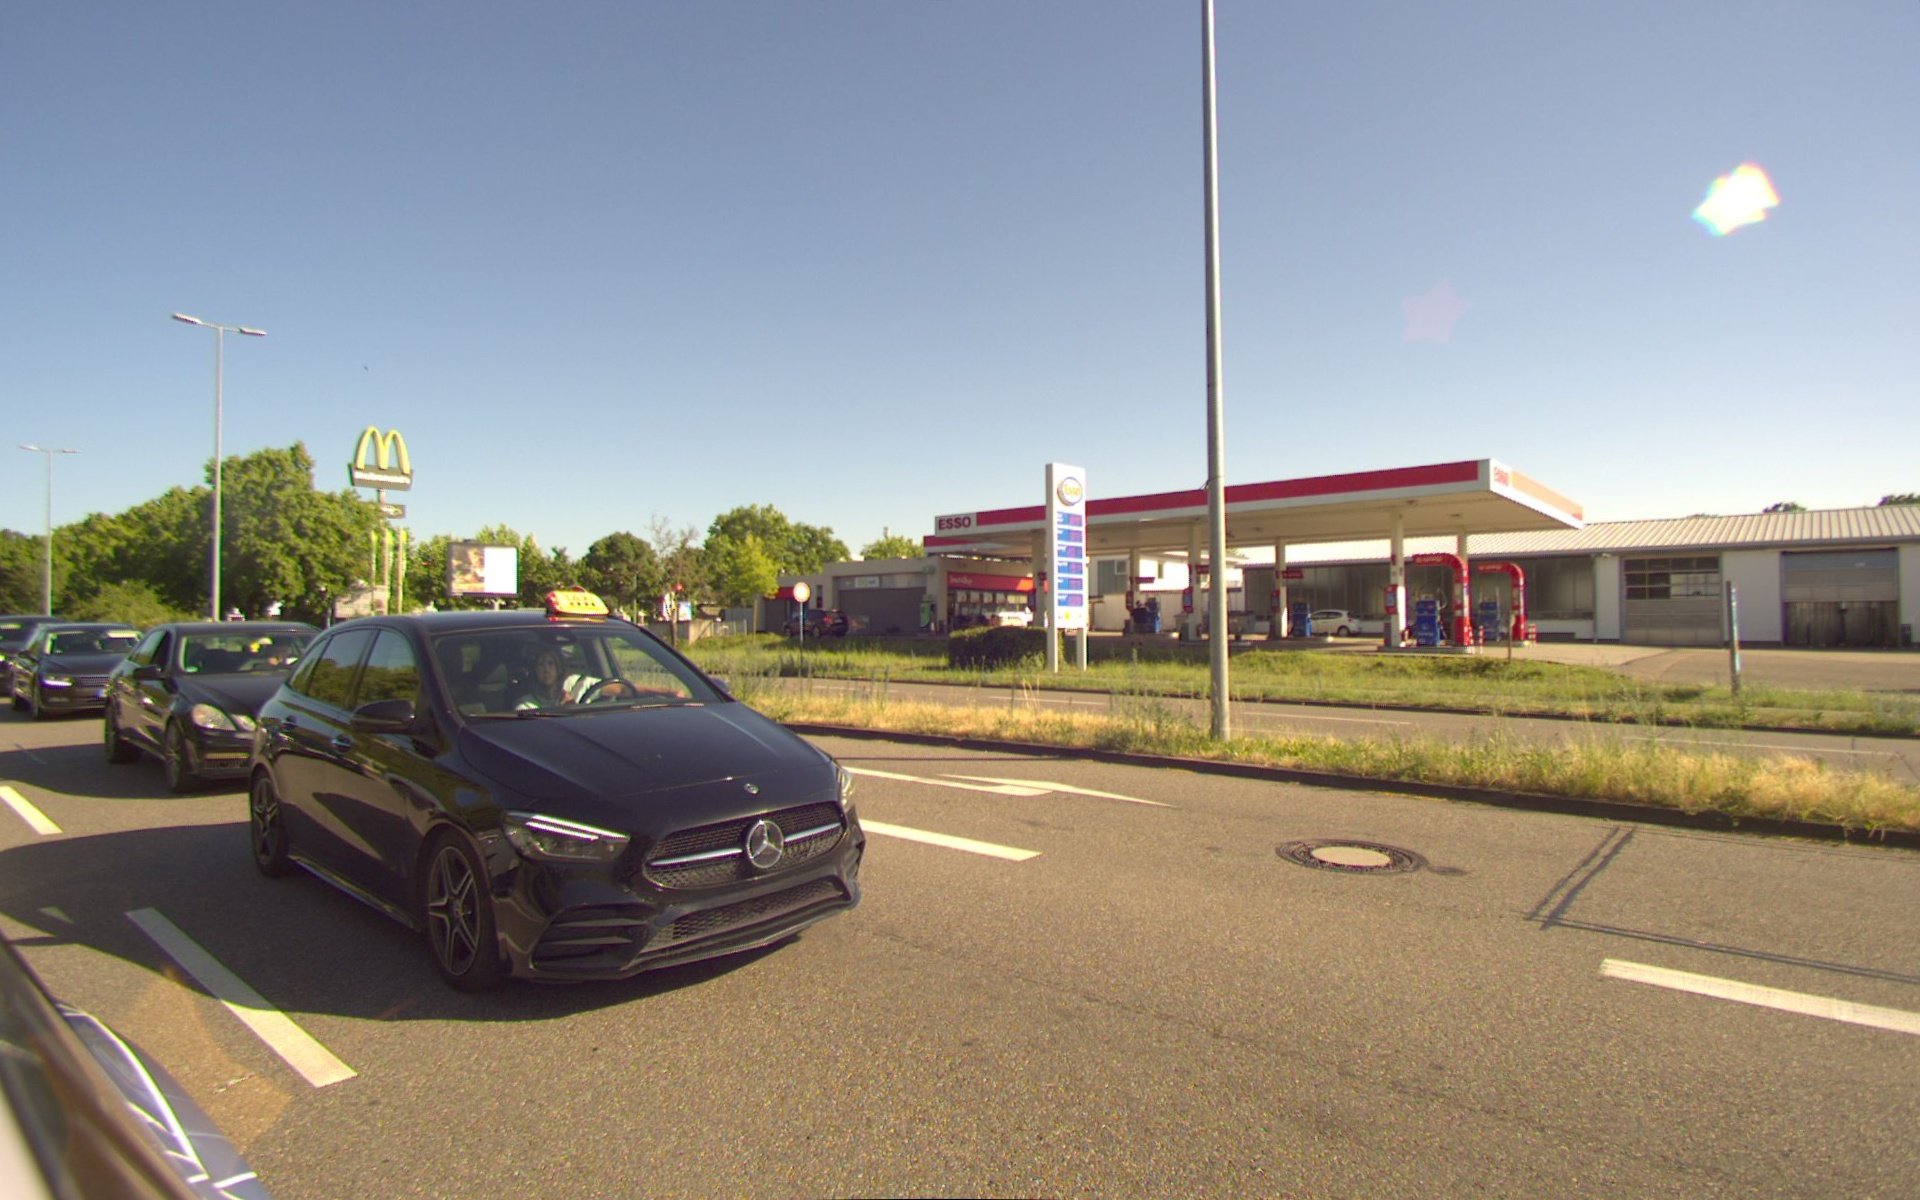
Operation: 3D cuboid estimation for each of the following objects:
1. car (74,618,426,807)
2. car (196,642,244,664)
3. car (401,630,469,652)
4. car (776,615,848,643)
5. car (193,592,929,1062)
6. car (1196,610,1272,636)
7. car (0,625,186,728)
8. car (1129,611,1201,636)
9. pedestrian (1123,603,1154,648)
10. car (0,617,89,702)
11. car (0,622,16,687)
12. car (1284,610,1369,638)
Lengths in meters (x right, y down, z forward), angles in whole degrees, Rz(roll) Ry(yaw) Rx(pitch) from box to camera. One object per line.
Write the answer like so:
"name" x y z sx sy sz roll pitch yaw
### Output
"car" -7.257 0.935 10.168 4.400 1.449 1.845 -1 0 40
"car" -51.123 3.659 69.904 3.975 1.420 1.741 -1 -4 40
"car" -37.093 2.902 71.593 1.757 1.420 3.939 0 -3 29
"car" -8.038 1.561 54.871 3.975 1.420 1.661 -1 -4 40
"car" -2.380 0.742 5.341 4.400 1.502 1.741 -1 0 40
"car" 15.837 1.357 58.588 3.975 1.420 1.661 -1 -4 40
"car" -14.448 1.159 16.699 4.284 1.438 1.775 -1 0 40
"car" 12.439 1.401 61.388 3.975 1.420 1.661 -1 -4 40
"pedestrian" 7.002 0.989 39.793 0.889 1.763 0.792 -1 0 -39
"car" -19.935 1.208 21.449 3.876 1.629 1.653 -2 -1 40
"car" -25.220 1.374 25.546 3.774 1.567 1.615 -1 -1 40
"car" 19.840 1.306 54.847 3.975 1.420 1.661 -1 -4 40
